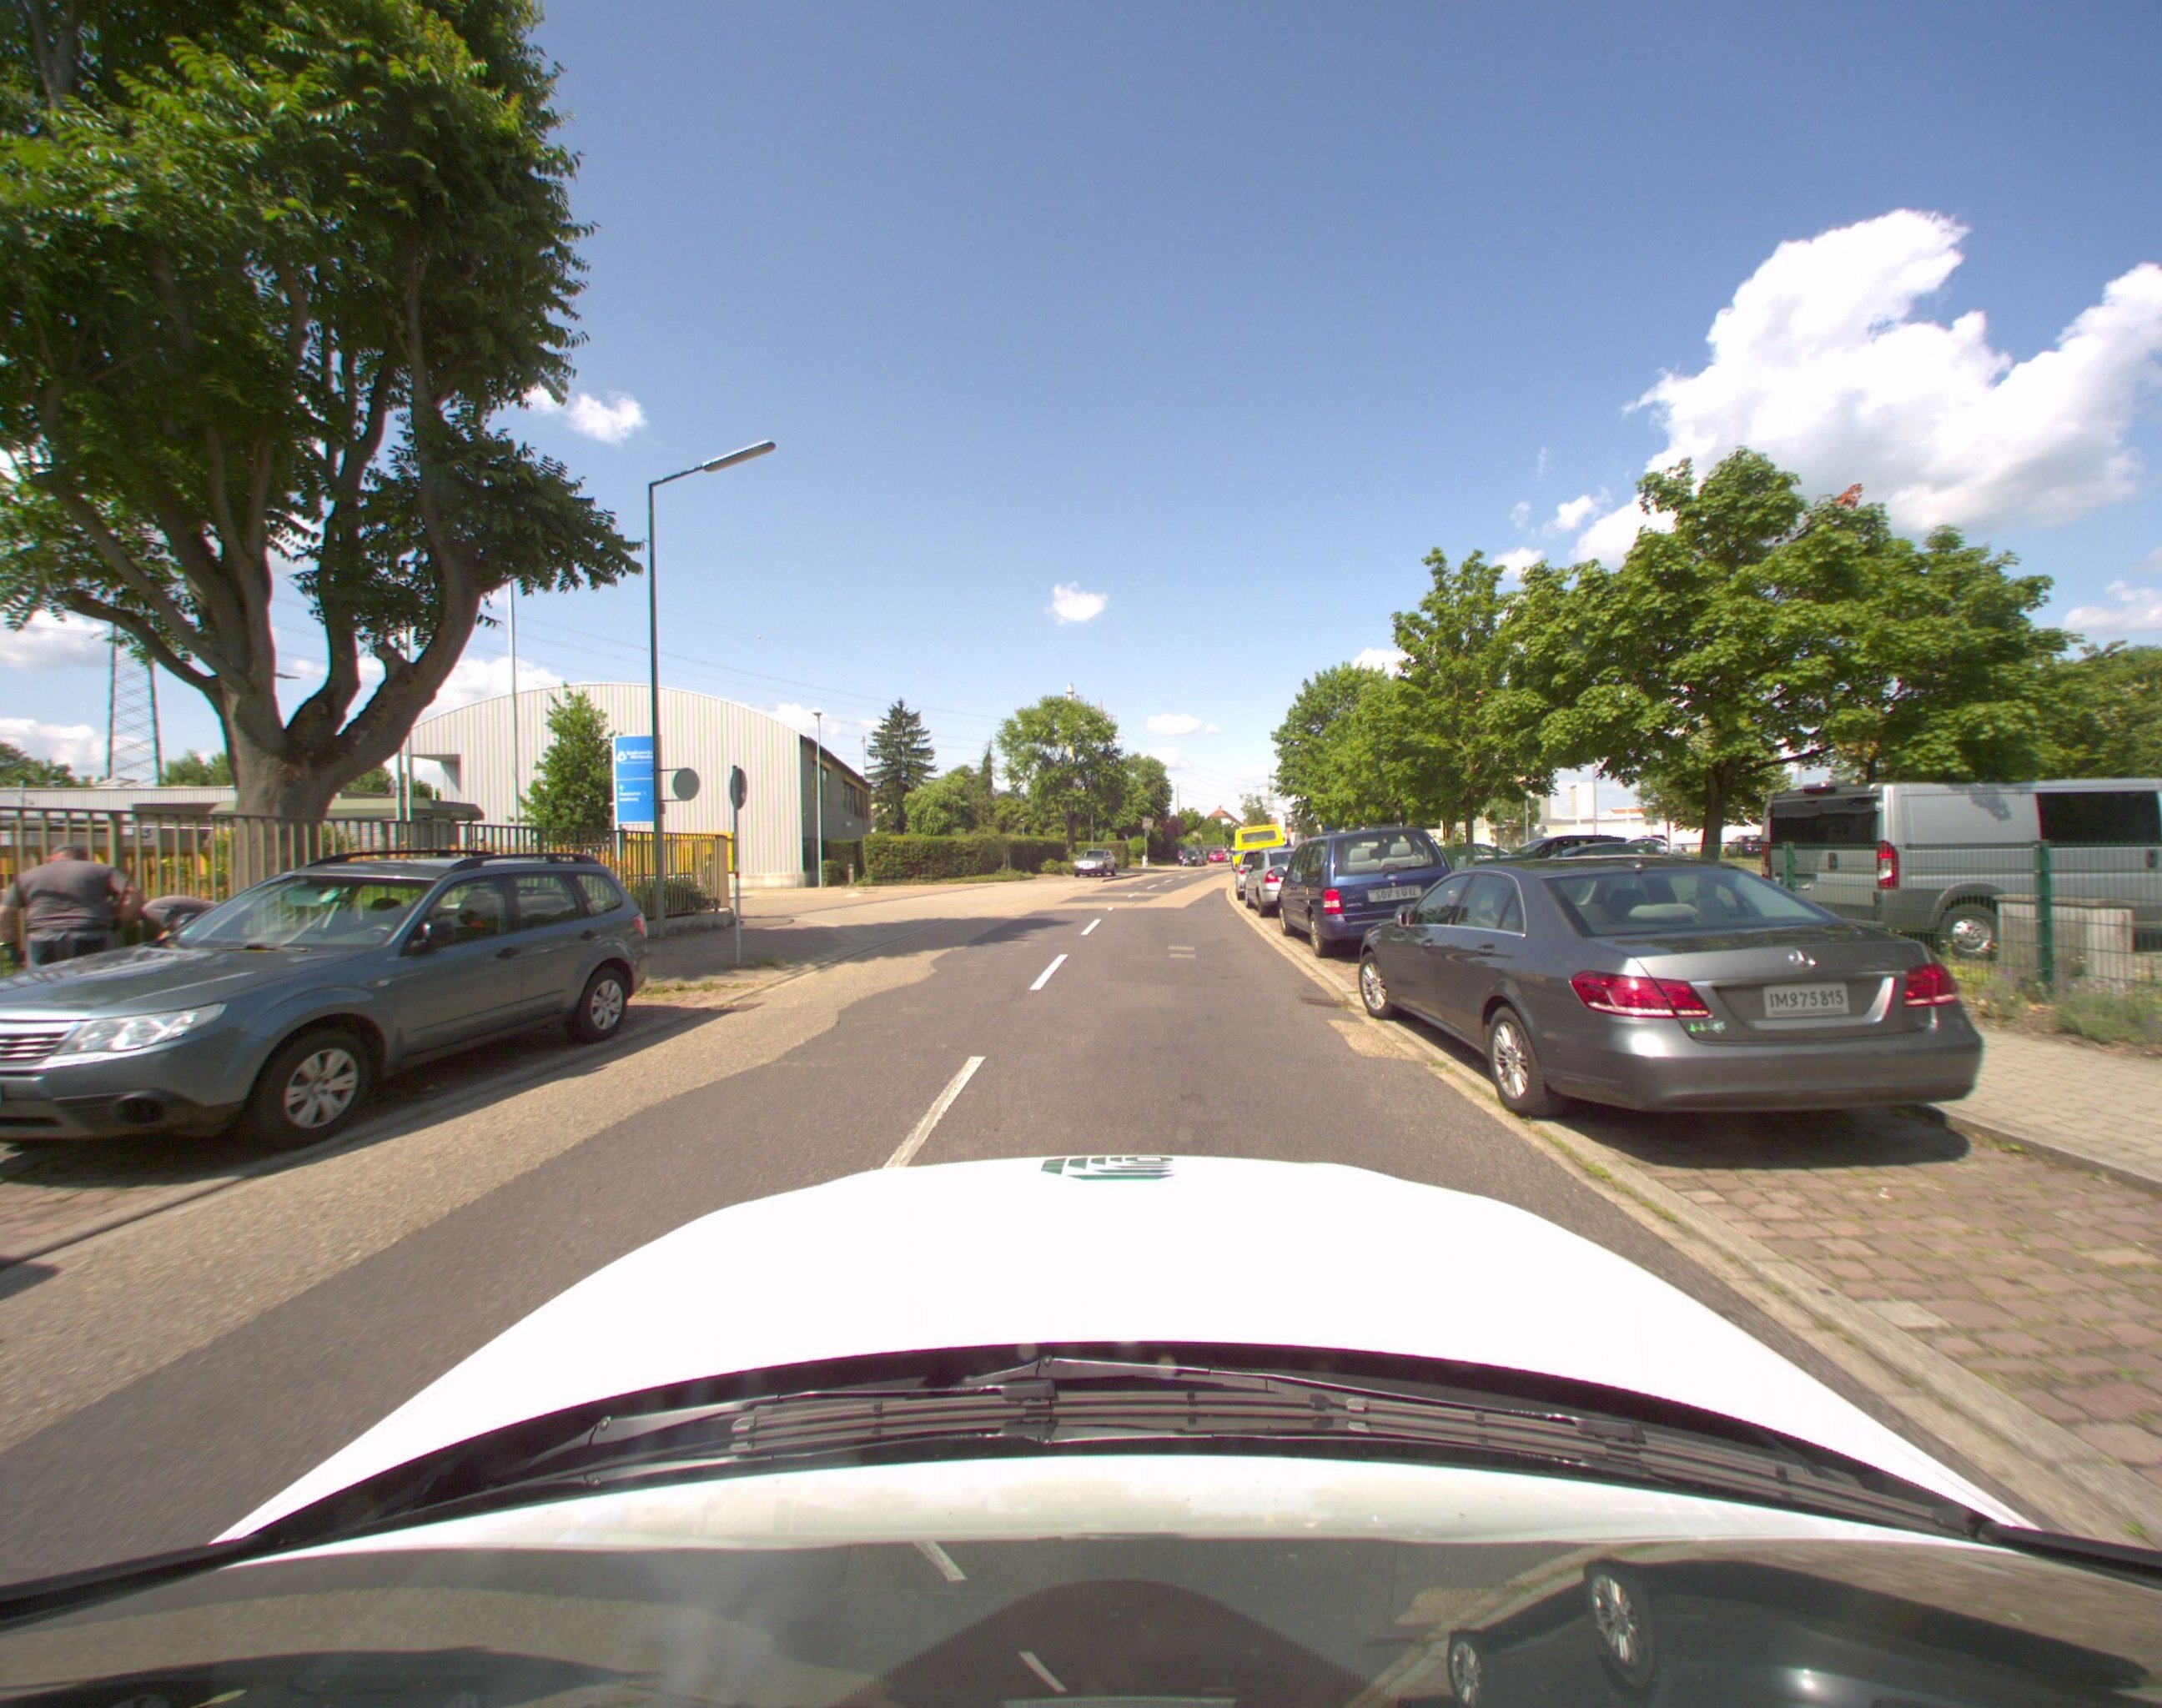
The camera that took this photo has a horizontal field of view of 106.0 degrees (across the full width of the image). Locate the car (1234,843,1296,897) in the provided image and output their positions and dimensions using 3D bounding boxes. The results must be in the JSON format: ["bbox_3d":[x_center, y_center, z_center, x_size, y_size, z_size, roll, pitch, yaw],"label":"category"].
[{"bbox_3d":[5.629,0.455,25.257,1.675,1.494,3.960,-3,0,10],"label":"car"}]

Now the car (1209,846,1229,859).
[{"bbox_3d":[15.502,-0.170,91.584,1.653,1.467,3.762,0,0,19],"label":"car"}]

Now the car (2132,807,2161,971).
[{"bbox_3d":[12.689,0.311,7.385,3.970,1.636,1.695,-1,0,3],"label":"car"}]

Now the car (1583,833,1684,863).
[{"bbox_3d":[28.316,-0.299,41.866,3.969,1.396,1.854,-1,0,21],"label":"car"}]

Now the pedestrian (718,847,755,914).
[{"bbox_3d":[-8.935,0.674,21.116,0.544,1.692,0.736,-1,-2,10],"label":"pedestrian"}]

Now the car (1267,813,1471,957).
[{"bbox_3d":[4.272,0.399,13.016,1.840,1.765,5.086,-3,0,6],"label":"car"}]

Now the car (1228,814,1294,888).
[{"bbox_3d":[6.888,-0.101,31.317,2.143,2.465,6.661,-3,0,12],"label":"car"}]

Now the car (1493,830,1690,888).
[{"bbox_3d":[13.773,0.125,22.155,4.304,1.495,1.631,0,0,5],"label":"car"}]

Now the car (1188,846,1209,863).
[{"bbox_3d":[11.562,0.048,80.096,1.638,1.645,3.287,2,1,16],"label":"car"}]

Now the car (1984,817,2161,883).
[{"bbox_3d":[23.876,-0.102,18.583,4.130,1.437,1.736,-1,0,14],"label":"car"}]

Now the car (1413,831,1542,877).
[{"bbox_3d":[15.924,0.020,32.897,4.295,1.621,1.766,-3,0,6],"label":"car"}]

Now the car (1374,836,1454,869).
[{"bbox_3d":[17.973,-0.092,44.140,3.844,1.637,1.919,-2,-1,18],"label":"car"}]

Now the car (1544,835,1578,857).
[{"bbox_3d":[33.496,-0.515,56.904,1.974,1.468,4.294,0,0,30],"label":"car"}]

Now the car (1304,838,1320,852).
[{"bbox_3d":[34.146,-1.283,120.141,1.977,2.013,5.676,-2,0,18],"label":"car"}]

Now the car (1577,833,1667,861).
[{"bbox_3d":[29.459,-0.390,44.453,3.721,1.396,2.024,-1,0,21],"label":"car"}]

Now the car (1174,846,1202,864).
[{"bbox_3d":[9.869,0.071,74.702,1.830,1.508,4.019,2,1,18],"label":"car"}]

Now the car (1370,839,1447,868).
[{"bbox_3d":[19.741,-0.003,49.246,4.175,1.593,1.919,-2,-1,18],"label":"car"}]

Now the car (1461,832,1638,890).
[{"bbox_3d":[14.109,0.207,24.733,4.304,1.671,1.860,0,0,5],"label":"car"}]

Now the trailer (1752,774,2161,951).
[{"bbox_3d":[12.423,0.083,10.920,5.025,2.082,2.063,-1,0,3],"label":"trailer"}]

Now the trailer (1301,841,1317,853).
[{"bbox_3d":[30.990,-0.926,110.695,1.737,1.417,4.565,-4,-1,13],"label":"trailer"}]

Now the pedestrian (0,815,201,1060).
[{"bbox_3d":[-7.718,0.596,6.339,0.823,1.761,0.847,0,0,9],"label":"pedestrian"}]

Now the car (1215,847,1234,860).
[{"bbox_3d":[16.940,-0.112,96.143,1.632,1.477,4.047,-1,0,17],"label":"car"}]

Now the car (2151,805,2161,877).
[{"bbox_3d":[31.242,-0.387,21.120,4.061,1.935,2.002,-1,0,5],"label":"car"}]

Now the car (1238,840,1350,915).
[{"bbox_3d":[4.936,0.491,19.498,1.823,1.492,4.663,-3,0,5],"label":"car"}]

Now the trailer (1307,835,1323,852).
[{"bbox_3d":[39.832,-1.727,138.534,2.187,2.737,6.250,-4,-1,17],"label":"trailer"}]

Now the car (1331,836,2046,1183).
[{"bbox_3d":[3.443,0.692,6.071,1.834,1.460,4.873,-3,0,3],"label":"car"}]

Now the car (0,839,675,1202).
[{"bbox_3d":[-5.199,0.752,6.077,1.791,1.650,4.693,0,0,3],"label":"car"}]

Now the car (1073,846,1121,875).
[{"bbox_3d":[0.976,0.356,47.070,1.745,1.574,4.494,0,0,14],"label":"car"}]

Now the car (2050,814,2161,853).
[{"bbox_3d":[43.847,-0.841,33.942,4.244,1.556,2.005,0,0,8],"label":"car"}]

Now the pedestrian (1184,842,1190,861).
[{"bbox_3d":[10.881,-0.269,83.702,0.447,1.894,0.680,-1,-1,18],"label":"pedestrian"}]

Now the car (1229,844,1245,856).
[{"bbox_3d":[20.061,-0.547,104.640,1.608,1.522,4.192,-1,0,15],"label":"car"}]

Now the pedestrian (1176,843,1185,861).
[{"bbox_3d":[10.214,-0.212,83.553,0.702,1.801,0.920,-1,-1,18],"label":"pedestrian"}]
